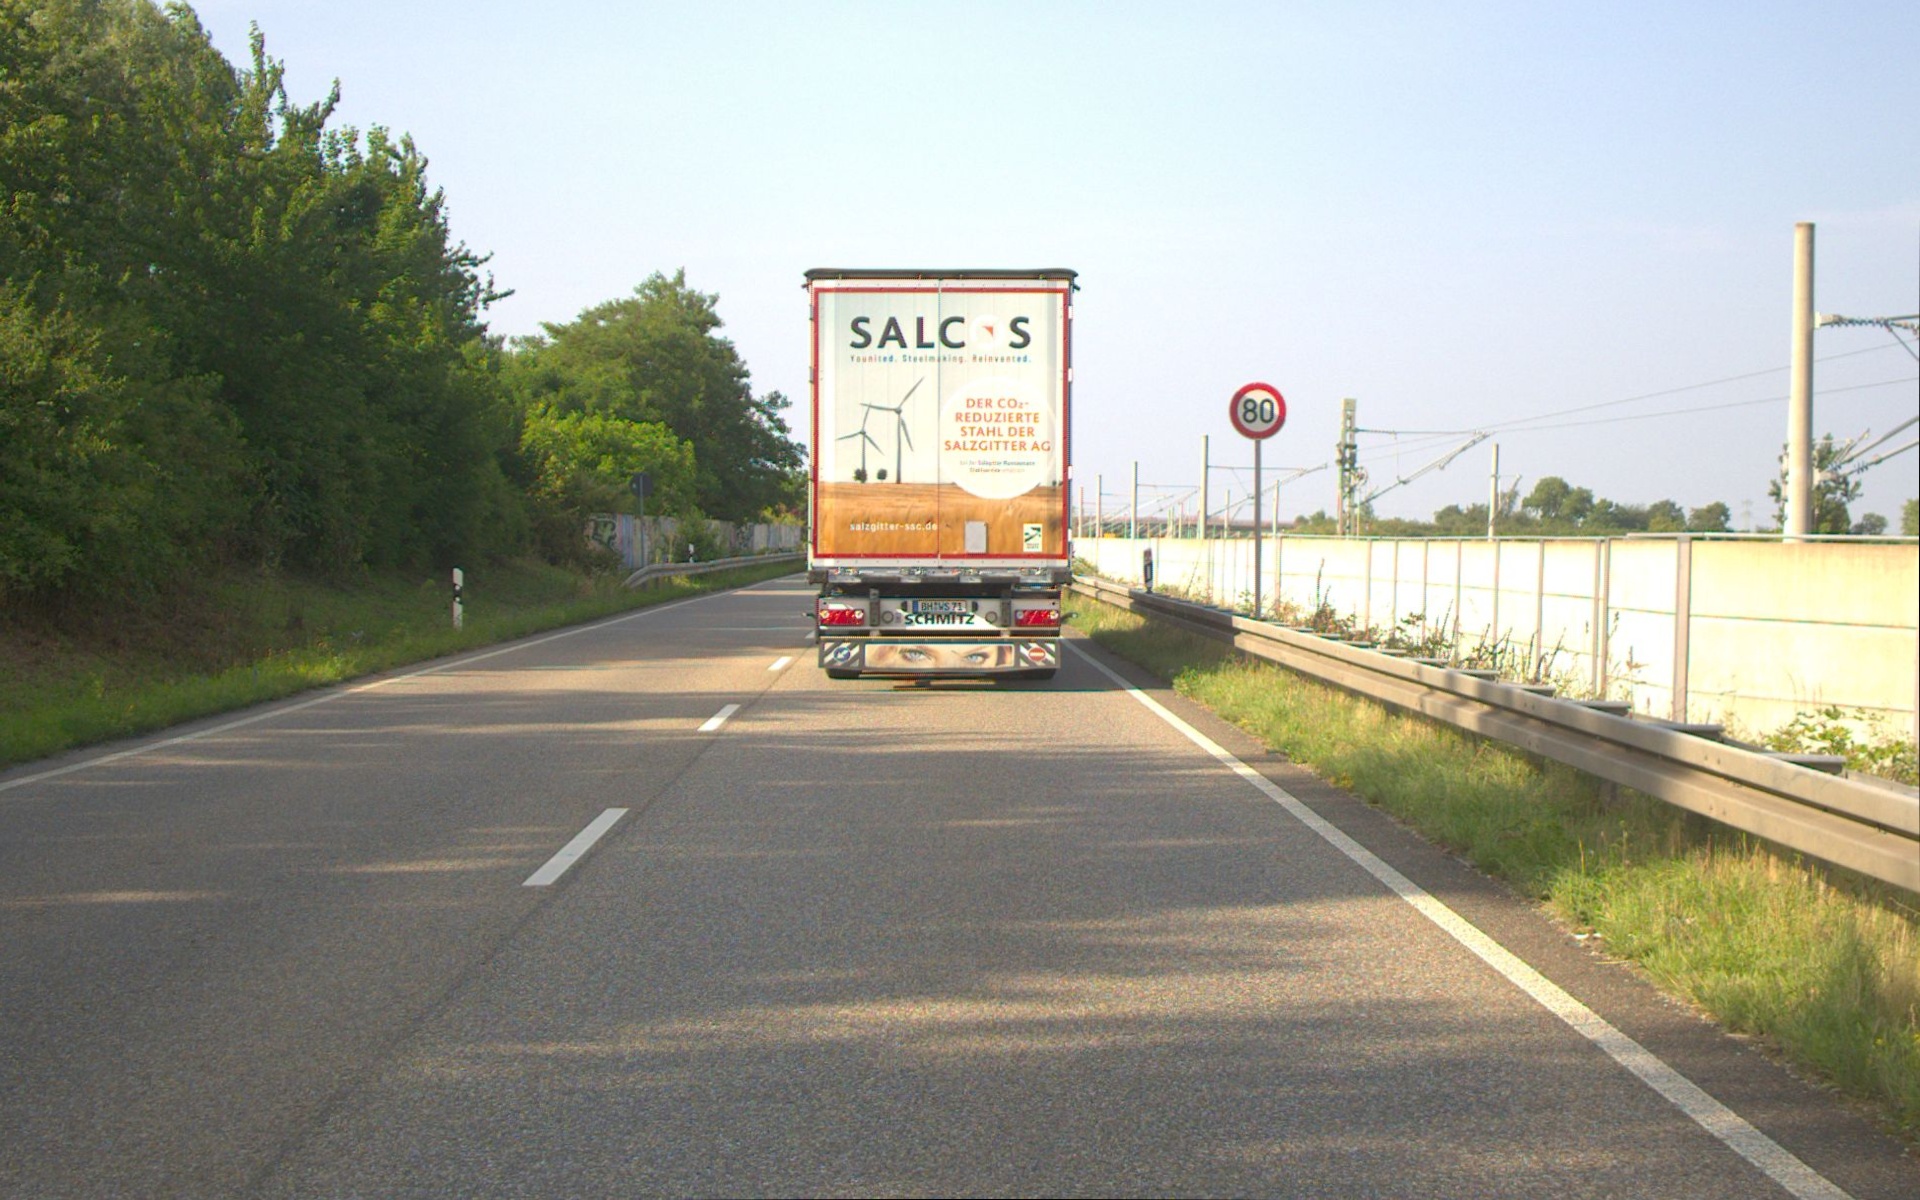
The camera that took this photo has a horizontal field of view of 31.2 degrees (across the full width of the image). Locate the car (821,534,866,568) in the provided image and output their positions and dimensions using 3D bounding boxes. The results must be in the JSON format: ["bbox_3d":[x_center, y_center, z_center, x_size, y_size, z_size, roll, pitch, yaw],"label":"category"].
[{"bbox_3d":[-4.834,-2.030,142.814,1.719,1.389,4.361,0,0,0],"label":"car"}]

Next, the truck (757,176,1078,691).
[{"bbox_3d":[-0.592,-1.704,38.729,3.033,4.903,11.685,0,1,-2],"label":"truck"}]
